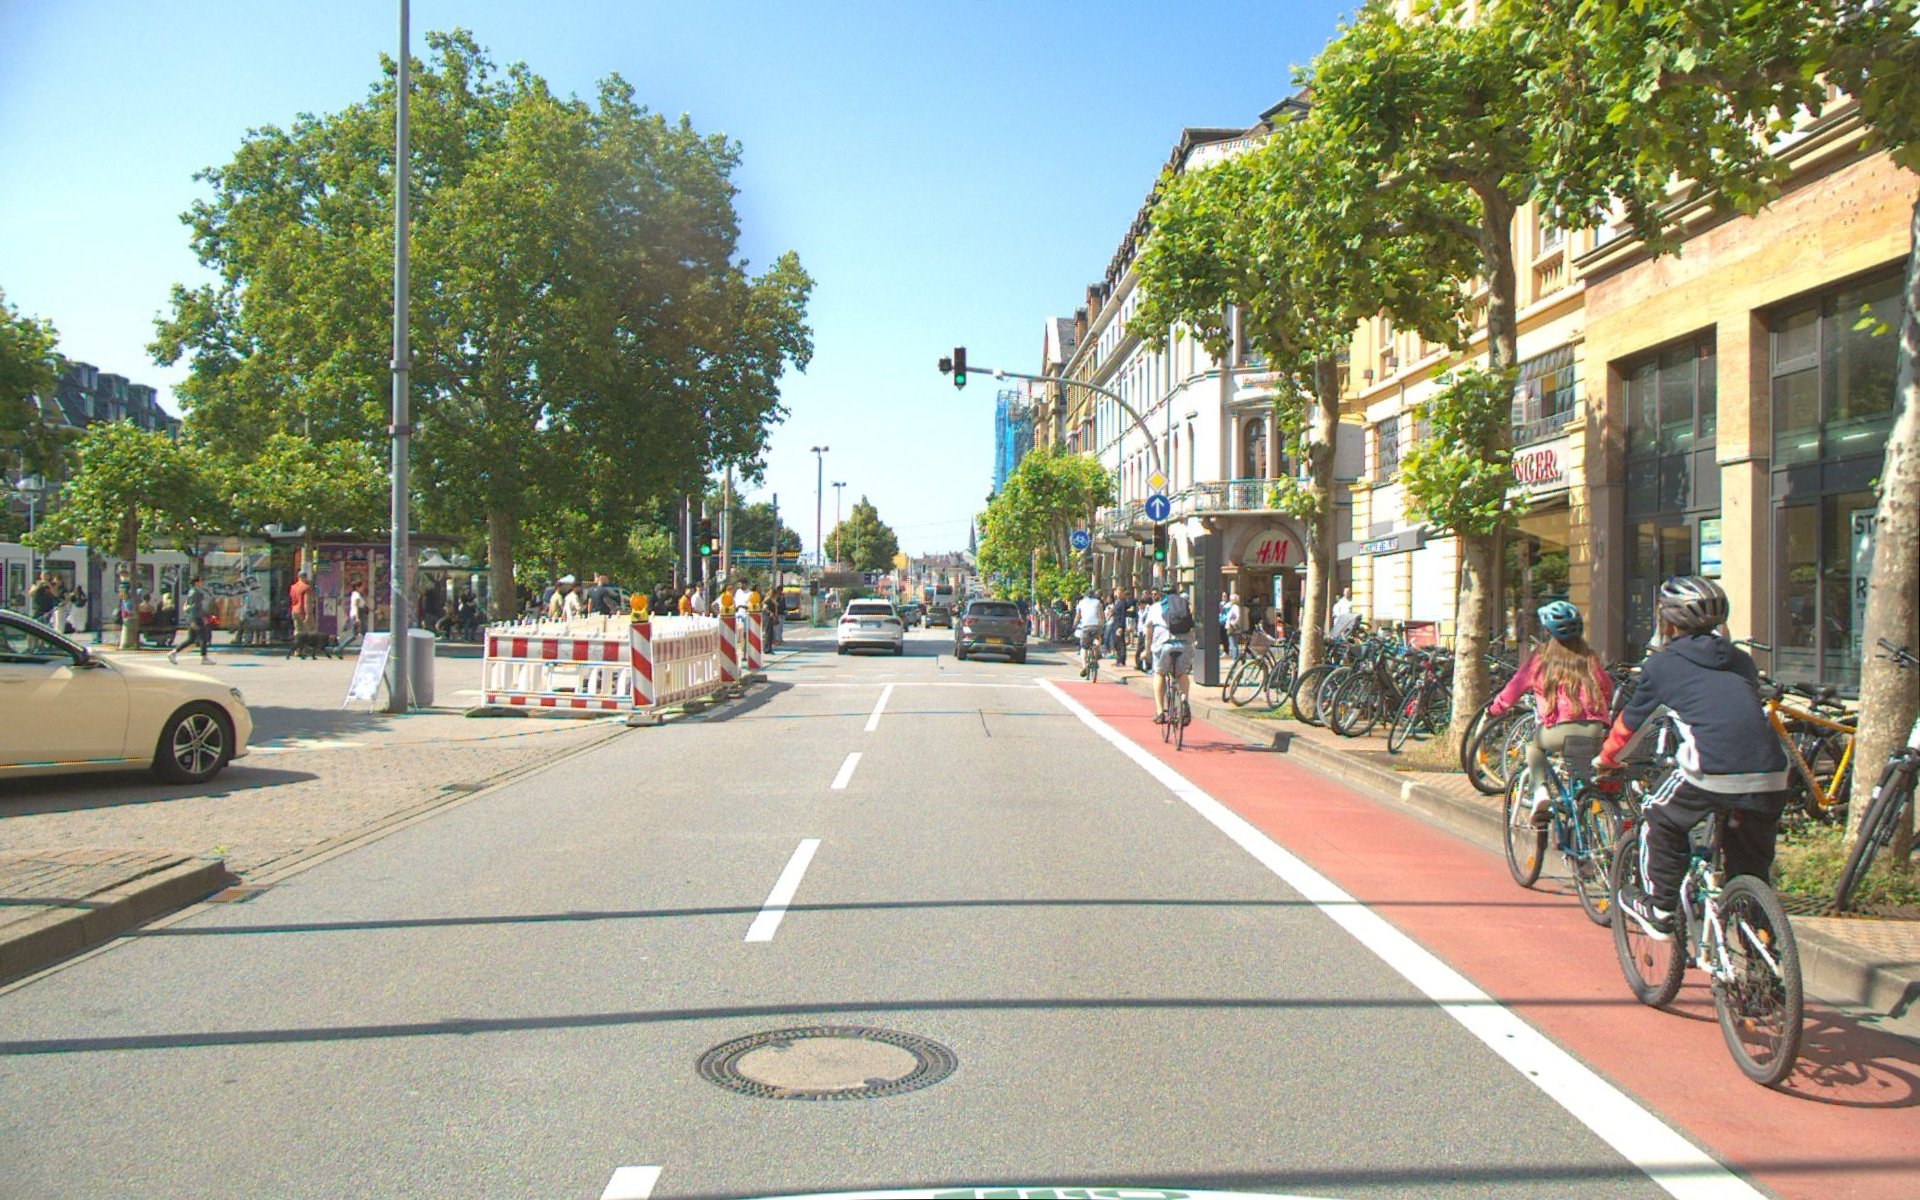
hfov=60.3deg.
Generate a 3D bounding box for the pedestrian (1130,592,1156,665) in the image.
[{"bbox_3d":[4.212,0.656,38.165,0.537,1.659,0.589,-1,-1,2],"label":"pedestrian"}]

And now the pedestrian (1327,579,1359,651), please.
[{"bbox_3d":[9.908,0.390,42.768,0.579,1.833,0.547,-2,-1,45],"label":"pedestrian"}]

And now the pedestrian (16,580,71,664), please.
[{"bbox_3d":[-19.783,0.468,35.696,0.593,1.780,0.802,1,-1,30],"label":"pedestrian"}]

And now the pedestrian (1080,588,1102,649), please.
[{"bbox_3d":[4.032,0.580,50.968,0.598,1.855,0.677,1,-1,-3],"label":"pedestrian"}]

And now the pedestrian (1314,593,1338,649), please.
[{"bbox_3d":[10.947,0.634,49.457,0.529,1.662,0.677,1,-1,-3],"label":"pedestrian"}]

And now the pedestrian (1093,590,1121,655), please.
[{"bbox_3d":[4.138,0.633,46.521,0.598,1.790,0.677,-4,-1,-3],"label":"pedestrian"}]

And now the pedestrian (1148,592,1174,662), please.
[{"bbox_3d":[4.523,0.610,37.226,0.512,1.548,0.641,-1,-1,2],"label":"pedestrian"}]

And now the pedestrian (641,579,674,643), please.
[{"bbox_3d":[-8.780,0.331,48.004,0.619,1.842,0.731,0,-1,20],"label":"pedestrian"}]

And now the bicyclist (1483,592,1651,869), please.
[{"bbox_3d":[3.146,0.655,8.619,0.588,1.381,0.720,1,-1,-3],"label":"bicyclist"}]

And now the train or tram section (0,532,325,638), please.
[{"bbox_3d":[-32.121,-0.513,63.899,2.568,3.741,15.497,1,0,34],"label":"train or tram section"}]

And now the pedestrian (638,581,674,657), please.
[{"bbox_3d":[-7.713,0.482,41.970,0.619,1.891,0.686,0,-1,20],"label":"pedestrian"}]

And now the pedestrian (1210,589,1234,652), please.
[{"bbox_3d":[6.919,0.548,43.673,0.512,1.640,0.641,-1,-1,-1],"label":"pedestrian"}]

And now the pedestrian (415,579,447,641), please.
[{"bbox_3d":[-16.027,0.303,50.153,0.619,1.842,0.615,-3,-2,19],"label":"pedestrian"}]

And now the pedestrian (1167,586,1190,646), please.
[{"bbox_3d":[6.856,0.506,51.885,0.598,1.855,0.677,1,-1,-3],"label":"pedestrian"}]

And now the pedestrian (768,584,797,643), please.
[{"bbox_3d":[-5.681,0.421,52.956,0.620,1.866,0.730,0,-1,28],"label":"pedestrian"}]

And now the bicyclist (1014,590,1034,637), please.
[{"bbox_3d":[2.181,0.448,56.272,0.634,1.578,0.817,1,0,-1],"label":"bicyclist"}]

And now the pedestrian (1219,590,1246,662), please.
[{"bbox_3d":[6.425,0.609,38.956,0.537,1.669,0.589,-1,-1,2],"label":"pedestrian"}]

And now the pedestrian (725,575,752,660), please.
[{"bbox_3d":[-5.161,0.403,38.519,0.521,1.953,0.560,1,-1,1],"label":"pedestrian"}]

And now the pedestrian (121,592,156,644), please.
[{"bbox_3d":[-20.461,0.450,41.179,0.601,1.284,0.608,0,0,44],"label":"pedestrian"}]

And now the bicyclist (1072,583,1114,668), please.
[{"bbox_3d":[2.608,0.493,32.515,0.758,1.664,0.851,0,0,-1],"label":"bicyclist"}]

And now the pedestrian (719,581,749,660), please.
[{"bbox_3d":[-5.172,0.467,37.886,0.564,1.789,0.638,1,-1,1],"label":"pedestrian"}]

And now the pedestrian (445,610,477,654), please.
[{"bbox_3d":[-15.300,0.980,50.754,0.619,1.316,0.731,0,-1,20],"label":"pedestrian"}]

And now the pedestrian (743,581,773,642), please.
[{"bbox_3d":[-6.299,0.349,51.564,0.620,1.891,0.730,0,-1,28],"label":"pedestrian"}]

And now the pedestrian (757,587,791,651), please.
[{"bbox_3d":[-4.764,0.494,42.459,0.619,1.623,0.686,0,-1,20],"label":"pedestrian"}]

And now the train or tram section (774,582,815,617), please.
[{"bbox_3d":[-16.706,-0.054,167.535,2.558,3.407,11.005,1,0,2],"label":"train or tram section"}]

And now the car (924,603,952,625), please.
[{"bbox_3d":[-1.520,0.911,110.748,1.808,1.438,3.999,1,0,-2],"label":"car"}]

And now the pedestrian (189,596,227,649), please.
[{"bbox_3d":[-18.303,0.539,40.276,0.600,1.284,0.609,0,0,35],"label":"pedestrian"}]

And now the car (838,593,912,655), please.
[{"bbox_3d":[-2.250,0.605,44.715,1.808,1.587,3.999,0,0,-1],"label":"car"}]

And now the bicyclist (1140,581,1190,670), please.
[{"bbox_3d":[4.263,0.528,34.456,0.569,1.828,0.846,-2,0,-35],"label":"bicyclist"}]

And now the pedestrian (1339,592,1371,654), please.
[{"bbox_3d":[10.225,0.591,42.819,0.579,1.596,0.547,-2,-1,45],"label":"pedestrian"}]

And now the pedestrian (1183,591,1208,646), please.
[{"bbox_3d":[7.142,0.551,50.183,0.598,1.646,0.677,1,1,-3],"label":"pedestrian"}]

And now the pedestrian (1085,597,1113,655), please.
[{"bbox_3d":[3.793,0.705,45.233,0.598,1.541,0.677,-4,-1,-3],"label":"pedestrian"}]

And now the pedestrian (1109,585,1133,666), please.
[{"bbox_3d":[3.879,0.606,39.817,0.512,1.931,0.641,-1,-1,2],"label":"pedestrian"}]

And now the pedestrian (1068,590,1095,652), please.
[{"bbox_3d":[3.531,0.608,48.209,0.598,1.770,0.677,-4,-1,-3],"label":"pedestrian"}]

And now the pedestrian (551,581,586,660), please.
[{"bbox_3d":[-8.826,0.456,37.316,0.572,1.752,0.789,1,-1,1],"label":"pedestrian"}]

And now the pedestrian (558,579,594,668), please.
[{"bbox_3d":[-8.415,0.517,36.218,0.564,1.924,0.653,2,-1,1],"label":"pedestrian"}]

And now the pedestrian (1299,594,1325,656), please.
[{"bbox_3d":[10.540,0.747,49.510,0.598,1.838,0.677,1,-1,-3],"label":"pedestrian"}]

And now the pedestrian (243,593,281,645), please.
[{"bbox_3d":[-17.544,0.481,41.571,0.599,1.284,0.611,0,0,25],"label":"pedestrian"}]

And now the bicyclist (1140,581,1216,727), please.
[{"bbox_3d":[2.314,0.555,17.643,0.617,1.507,1.198,0,0,-2],"label":"bicyclist"}]

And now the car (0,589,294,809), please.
[{"bbox_3d":[-7.607,0.690,12.358,1.854,1.569,4.856,1,-1,26],"label":"car"}]

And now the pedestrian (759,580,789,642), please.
[{"bbox_3d":[-5.525,0.338,49.166,0.619,1.825,0.731,0,-1,20],"label":"pedestrian"}]

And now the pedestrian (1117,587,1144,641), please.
[{"bbox_3d":[5.582,0.455,54.068,0.603,1.735,0.671,-1,0,-29],"label":"pedestrian"}]

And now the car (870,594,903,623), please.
[{"bbox_3d":[-4.144,0.459,93.786,1.808,1.587,3.999,1,0,-2],"label":"car"}]

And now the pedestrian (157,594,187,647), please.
[{"bbox_3d":[-19.073,0.489,40.057,0.601,1.284,0.608,1,0,-23],"label":"pedestrian"}]

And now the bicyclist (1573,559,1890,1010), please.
[{"bbox_3d":[2.689,0.610,5.837,0.684,1.466,0.790,2,0,-4],"label":"bicyclist"}]

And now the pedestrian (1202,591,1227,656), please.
[{"bbox_3d":[6.550,0.602,42.618,0.512,1.637,0.641,-1,-1,-1],"label":"pedestrian"}]

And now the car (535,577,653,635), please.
[{"bbox_3d":[-12.982,0.220,58.930,1.820,1.989,4.762,0,-1,20],"label":"car"}]

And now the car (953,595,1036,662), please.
[{"bbox_3d":[0.848,0.702,42.883,1.809,1.586,3.997,2,0,-3],"label":"car"}]

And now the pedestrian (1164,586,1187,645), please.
[{"bbox_3d":[6.843,0.497,52.567,0.598,1.838,0.677,1,-1,-3],"label":"pedestrian"}]
